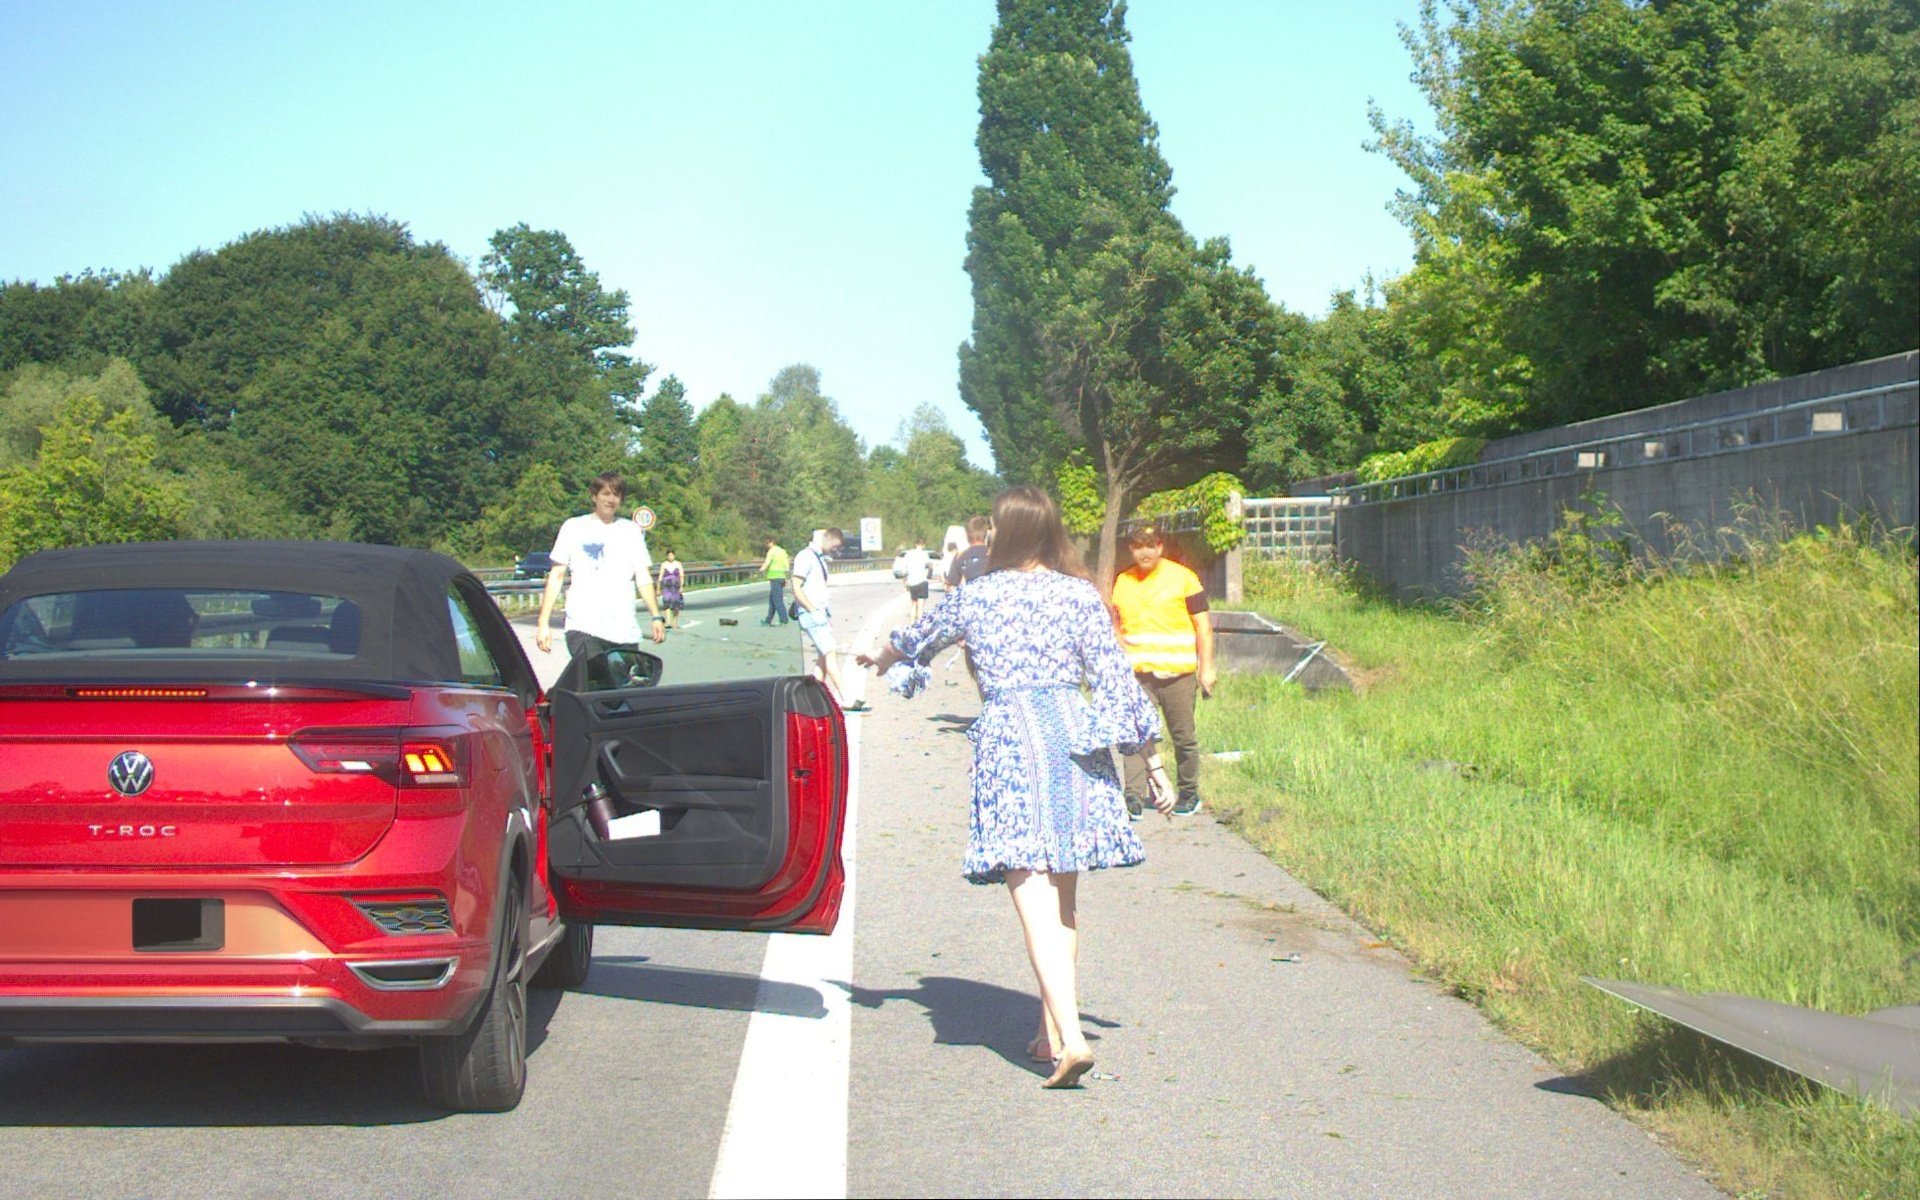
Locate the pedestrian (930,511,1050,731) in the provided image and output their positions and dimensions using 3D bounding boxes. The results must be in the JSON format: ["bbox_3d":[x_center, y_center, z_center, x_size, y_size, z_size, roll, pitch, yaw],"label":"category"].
[{"bbox_3d":[0.232,0.162,27.462,0.894,1.719,0.754,1,0,-3],"label":"pedestrian"}]

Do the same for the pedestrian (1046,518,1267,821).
[{"bbox_3d":[1.128,0.371,19.451,0.958,1.648,1.277,-1,1,16],"label":"pedestrian"}]

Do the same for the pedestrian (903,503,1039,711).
[{"bbox_3d":[0.094,0.052,29.603,0.827,1.753,0.812,1,0,42],"label":"pedestrian"}]

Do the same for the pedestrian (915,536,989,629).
[{"bbox_3d":[-0.148,-0.321,62.644,1.007,1.683,0.999,0,0,-25],"label":"pedestrian"}]

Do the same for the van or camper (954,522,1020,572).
[{"bbox_3d":[1.316,-2.507,162.587,1.995,2.308,4.467,1,0,16],"label":"van or camper"}]

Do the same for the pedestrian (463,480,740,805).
[{"bbox_3d":[-2.171,0.240,20.897,1.254,1.906,1.108,-1,1,25],"label":"pedestrian"}]

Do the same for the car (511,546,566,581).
[{"bbox_3d":[-17.552,-1.548,143.287,1.694,1.421,4.305,1,1,1],"label":"car"}]

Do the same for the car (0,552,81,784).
[{"bbox_3d":[-6.787,0.422,21.323,1.694,1.421,4.334,0,1,-2],"label":"car"}]

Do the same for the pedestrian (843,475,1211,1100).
[{"bbox_3d":[0.167,0.501,9.978,0.889,1.689,1.129,-1,1,-7],"label":"pedestrian"}]

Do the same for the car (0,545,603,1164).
[{"bbox_3d":[-2.106,0.586,10.435,1.732,1.482,4.211,0,1,-2],"label":"car"}]

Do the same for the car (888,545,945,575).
[{"bbox_3d":[-2.133,-1.978,169.216,1.733,1.482,4.207,1,1,15],"label":"car"}]

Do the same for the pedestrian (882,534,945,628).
[{"bbox_3d":[-0.852,-0.351,62.899,1.113,1.683,0.973,1,0,-2],"label":"pedestrian"}]

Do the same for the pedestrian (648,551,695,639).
[{"bbox_3d":[-5.605,-0.098,66.870,0.791,1.683,0.792,1,0,3],"label":"pedestrian"}]

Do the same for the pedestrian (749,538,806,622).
[{"bbox_3d":[-3.688,-0.403,69.441,1.014,1.683,1.059,1,0,4],"label":"pedestrian"}]

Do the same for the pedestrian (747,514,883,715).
[{"bbox_3d":[-1.312,0.123,31.320,1.088,1.782,1.107,1,0,5],"label":"pedestrian"}]
